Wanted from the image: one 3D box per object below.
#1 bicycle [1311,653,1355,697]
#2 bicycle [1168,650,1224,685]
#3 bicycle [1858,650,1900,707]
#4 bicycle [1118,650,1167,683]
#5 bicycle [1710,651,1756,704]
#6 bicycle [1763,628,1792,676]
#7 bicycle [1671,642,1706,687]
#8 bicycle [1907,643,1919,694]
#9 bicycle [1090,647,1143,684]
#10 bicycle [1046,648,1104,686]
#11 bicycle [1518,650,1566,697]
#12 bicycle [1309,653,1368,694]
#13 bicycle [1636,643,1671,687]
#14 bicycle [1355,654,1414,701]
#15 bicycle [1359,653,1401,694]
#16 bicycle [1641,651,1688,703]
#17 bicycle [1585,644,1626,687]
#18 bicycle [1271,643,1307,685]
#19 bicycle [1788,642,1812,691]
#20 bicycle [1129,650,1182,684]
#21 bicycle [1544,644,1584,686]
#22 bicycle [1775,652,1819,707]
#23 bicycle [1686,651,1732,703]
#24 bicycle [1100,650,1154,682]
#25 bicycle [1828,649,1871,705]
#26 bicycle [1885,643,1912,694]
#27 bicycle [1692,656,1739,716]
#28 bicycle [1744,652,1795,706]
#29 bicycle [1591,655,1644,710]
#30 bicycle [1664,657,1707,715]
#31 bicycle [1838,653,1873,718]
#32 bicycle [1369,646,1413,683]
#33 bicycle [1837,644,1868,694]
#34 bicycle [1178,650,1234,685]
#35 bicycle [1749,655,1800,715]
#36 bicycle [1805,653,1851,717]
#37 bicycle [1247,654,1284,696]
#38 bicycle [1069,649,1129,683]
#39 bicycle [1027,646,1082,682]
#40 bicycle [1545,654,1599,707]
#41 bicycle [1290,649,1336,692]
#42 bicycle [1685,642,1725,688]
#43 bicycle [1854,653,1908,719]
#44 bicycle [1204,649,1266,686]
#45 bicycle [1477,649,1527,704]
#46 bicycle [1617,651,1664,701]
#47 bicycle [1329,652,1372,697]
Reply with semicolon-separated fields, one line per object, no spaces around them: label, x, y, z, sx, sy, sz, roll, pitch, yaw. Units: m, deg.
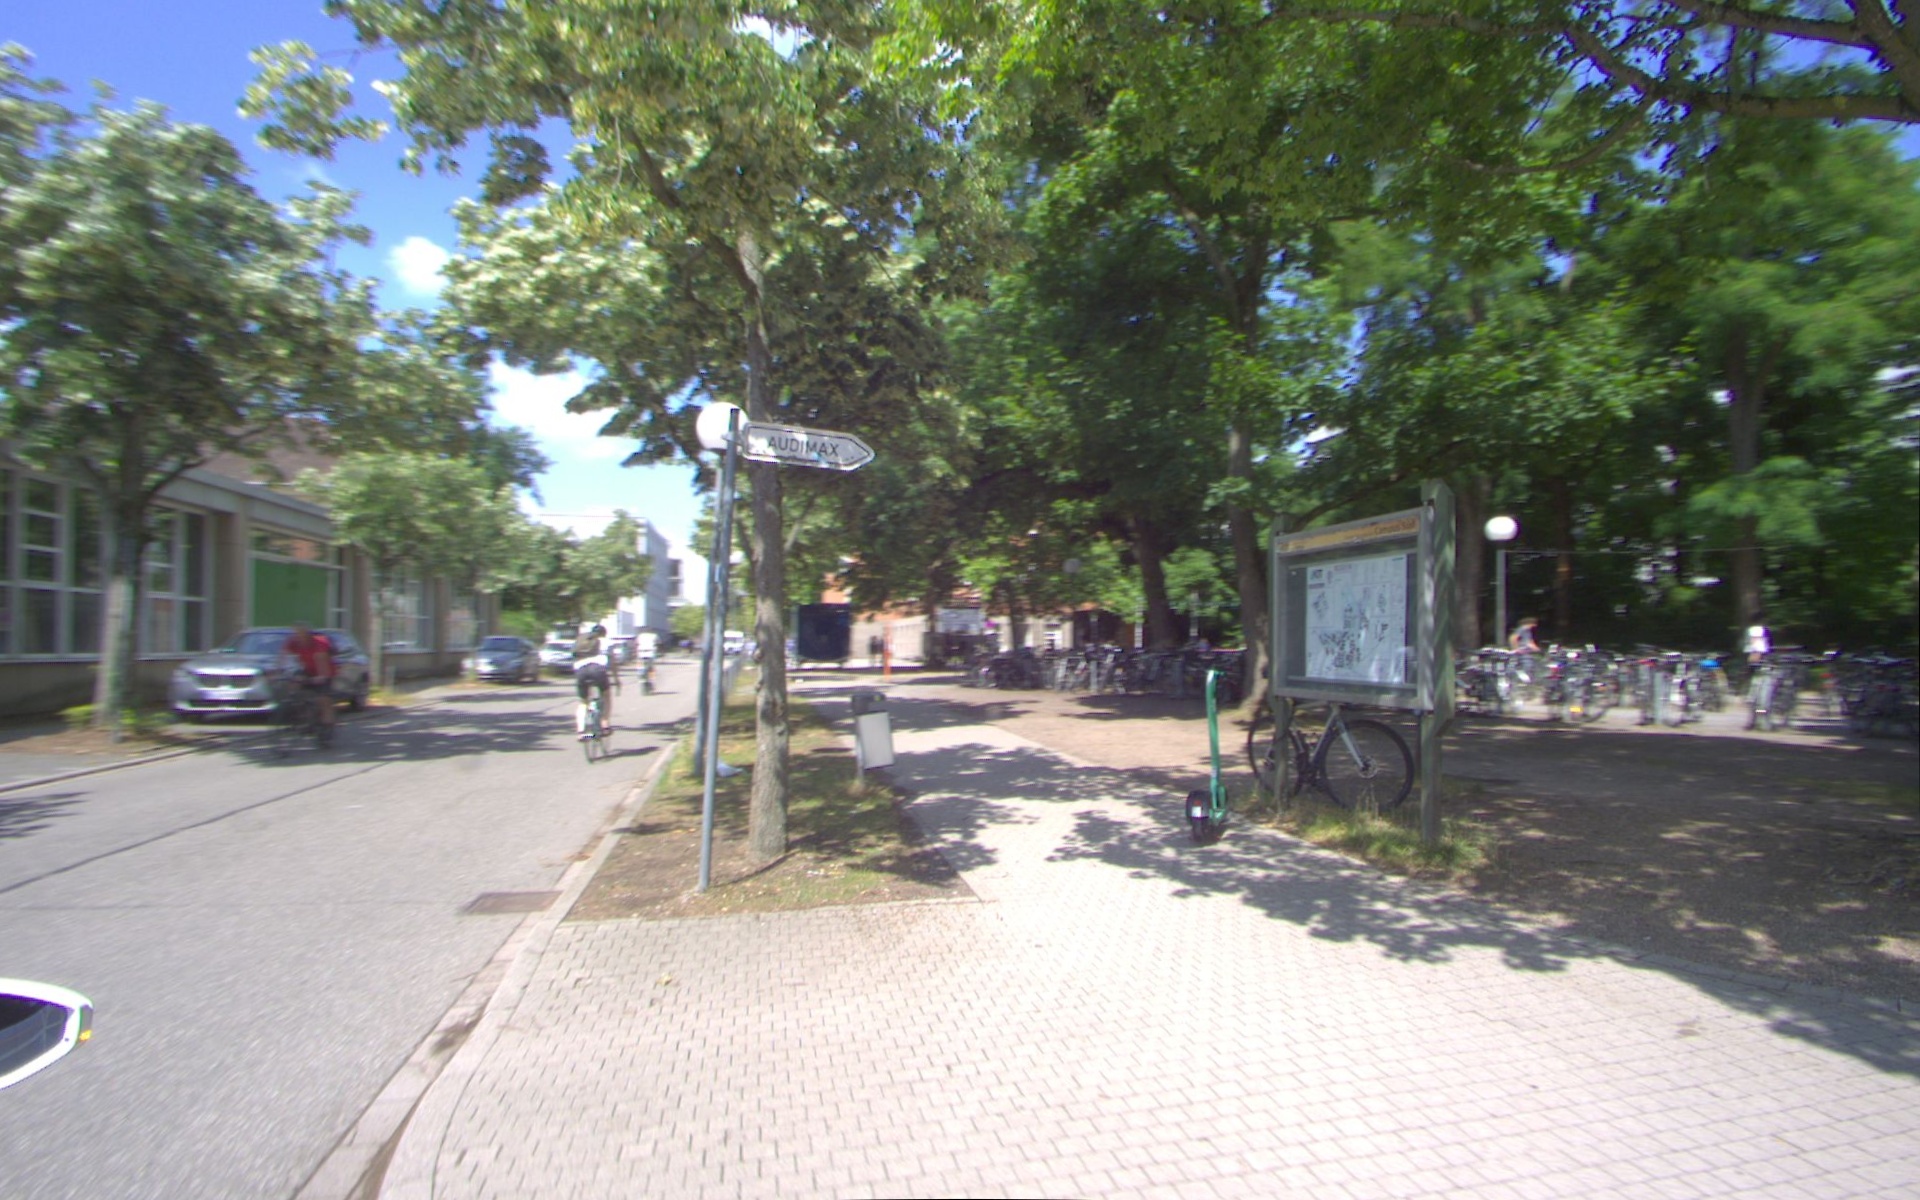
bicycle;9.016;1.785;24.141;0.472;0.991;1.892;-2;-3;36
bicycle;7.032;1.987;29.782;1.879;0.991;0.475;1;-2;-35
bicycle;17.078;1.430;18.589;1.884;0.991;0.375;1;-3;-42
bicycle;5.842;2.107;31.962;1.883;0.991;0.418;1;-2;-40
bicycle;15.394;1.524;19.936;1.884;0.991;0.375;1;-3;-42
bicycle;19.652;1.241;24.073;0.473;1.107;1.599;-2;-3;41
bicycle;18.600;1.644;25.566;1.594;1.107;0.345;1;-2;-41
bicycle;21.645;1.521;22.555;0.344;1.107;1.599;-2;-2;40
bicycle;5.211;2.172;33.358;1.877;1.158;0.476;1;-2;-31
bicycle;3.633;2.092;31.537;1.879;1.132;0.609;1;-2;-34
bicycle;13.177;1.647;22.643;1.884;0.991;0.375;1;-3;-42
bicycle;9.863;1.902;26.067;1.880;0.991;0.439;1;-2;-36
bicycle;18.093;1.680;26.108;1.594;1.107;0.345;1;-2;-41
bicycle;9.721;1.750;22.916;1.884;0.991;0.474;1;-3;-42
bicycle;10.667;1.844;25.400;0.473;0.991;1.890;-2;-3;39
bicycle;14.605;1.573;20.739;1.884;0.991;0.375;1;-3;-42
bicycle;17.232;1.727;26.709;1.594;1.107;0.474;1;-2;-41
bicycle;8.206;1.577;24.949;0.471;0.991;1.896;-2;-2;30
bicycle;19.800;1.554;23.594;0.344;1.107;1.598;-2;-3;42
bicycle;6.146;2.083;31.384;1.880;0.991;0.475;1;-2;-37
bicycle;16.632;1.766;27.558;1.594;1.107;0.474;1;-2;-41
bicycle;16.173;1.509;19.343;1.884;0.991;0.375;1;-3;-42
bicycle;15.213;1.537;20.320;1.884;0.991;0.375;1;-3;-42
bicycle;5.429;2.135;32.468;1.877;0.991;0.476;1;-2;-31
bicycle;16.804;1.438;18.907;1.884;0.991;0.375;1;-3;-42
bicycle;21.374;1.537;22.824;0.344;1.107;1.599;-2;-2;40
bicycle;13.765;1.543;18.283;0.373;0.991;1.897;-2;-2;28
bicycle;15.907;1.523;19.660;1.884;0.991;0.474;1;-3;-42
bicycle;12.785;1.590;19.458;1.884;0.991;0.375;1;-3;-42
bicycle;13.376;1.564;18.494;0.373;0.991;1.897;-2;-2;28
bicycle;15.390;1.439;17.221;0.289;1.036;1.731;-2;-2;37
bicycle;13.509;2.003;31.373;1.732;1.107;0.475;1;-2;-38
bicycle;20.704;1.573;23.235;0.473;1.107;1.599;-2;-3;41
bicycle;7.238;1.966;29.397;1.879;0.991;0.475;1;-2;-35
bicycle;14.399;1.478;17.730;0.373;0.991;1.896;-2;-2;30
bicycle;15.076;1.454;17.417;0.473;1.036;1.731;-2;-3;37
bicycle;7.724;1.863;25.237;0.471;0.991;1.896;-2;-2;30
bicycle;4.240;2.005;30.494;1.879;0.991;0.609;1;-2;-34
bicycle;3.070;2.072;32.549;1.785;1.132;0.609;1;-2;-34
bicycle;12.192;1.584;19.924;1.884;0.991;0.375;1;-3;-42
bicycle;8.675;1.700;24.558;0.473;0.991;1.891;-2;-3;37
bicycle;18.829;1.630;25.295;1.594;1.107;0.474;1;-2;-41
bicycle;15.482;1.422;16.858;0.473;1.036;1.731;-2;-3;37
bicycle;7.902;1.928;28.743;1.879;0.991;0.609;1;-2;-34
bicycle;11.429;1.593;21.092;0.473;1.096;1.888;-2;-3;42
bicycle;14.365;1.580;21.117;1.884;0.991;0.375;1;-3;-42
bicycle;9.328;1.763;23.897;0.472;0.991;1.892;-2;-3;36
